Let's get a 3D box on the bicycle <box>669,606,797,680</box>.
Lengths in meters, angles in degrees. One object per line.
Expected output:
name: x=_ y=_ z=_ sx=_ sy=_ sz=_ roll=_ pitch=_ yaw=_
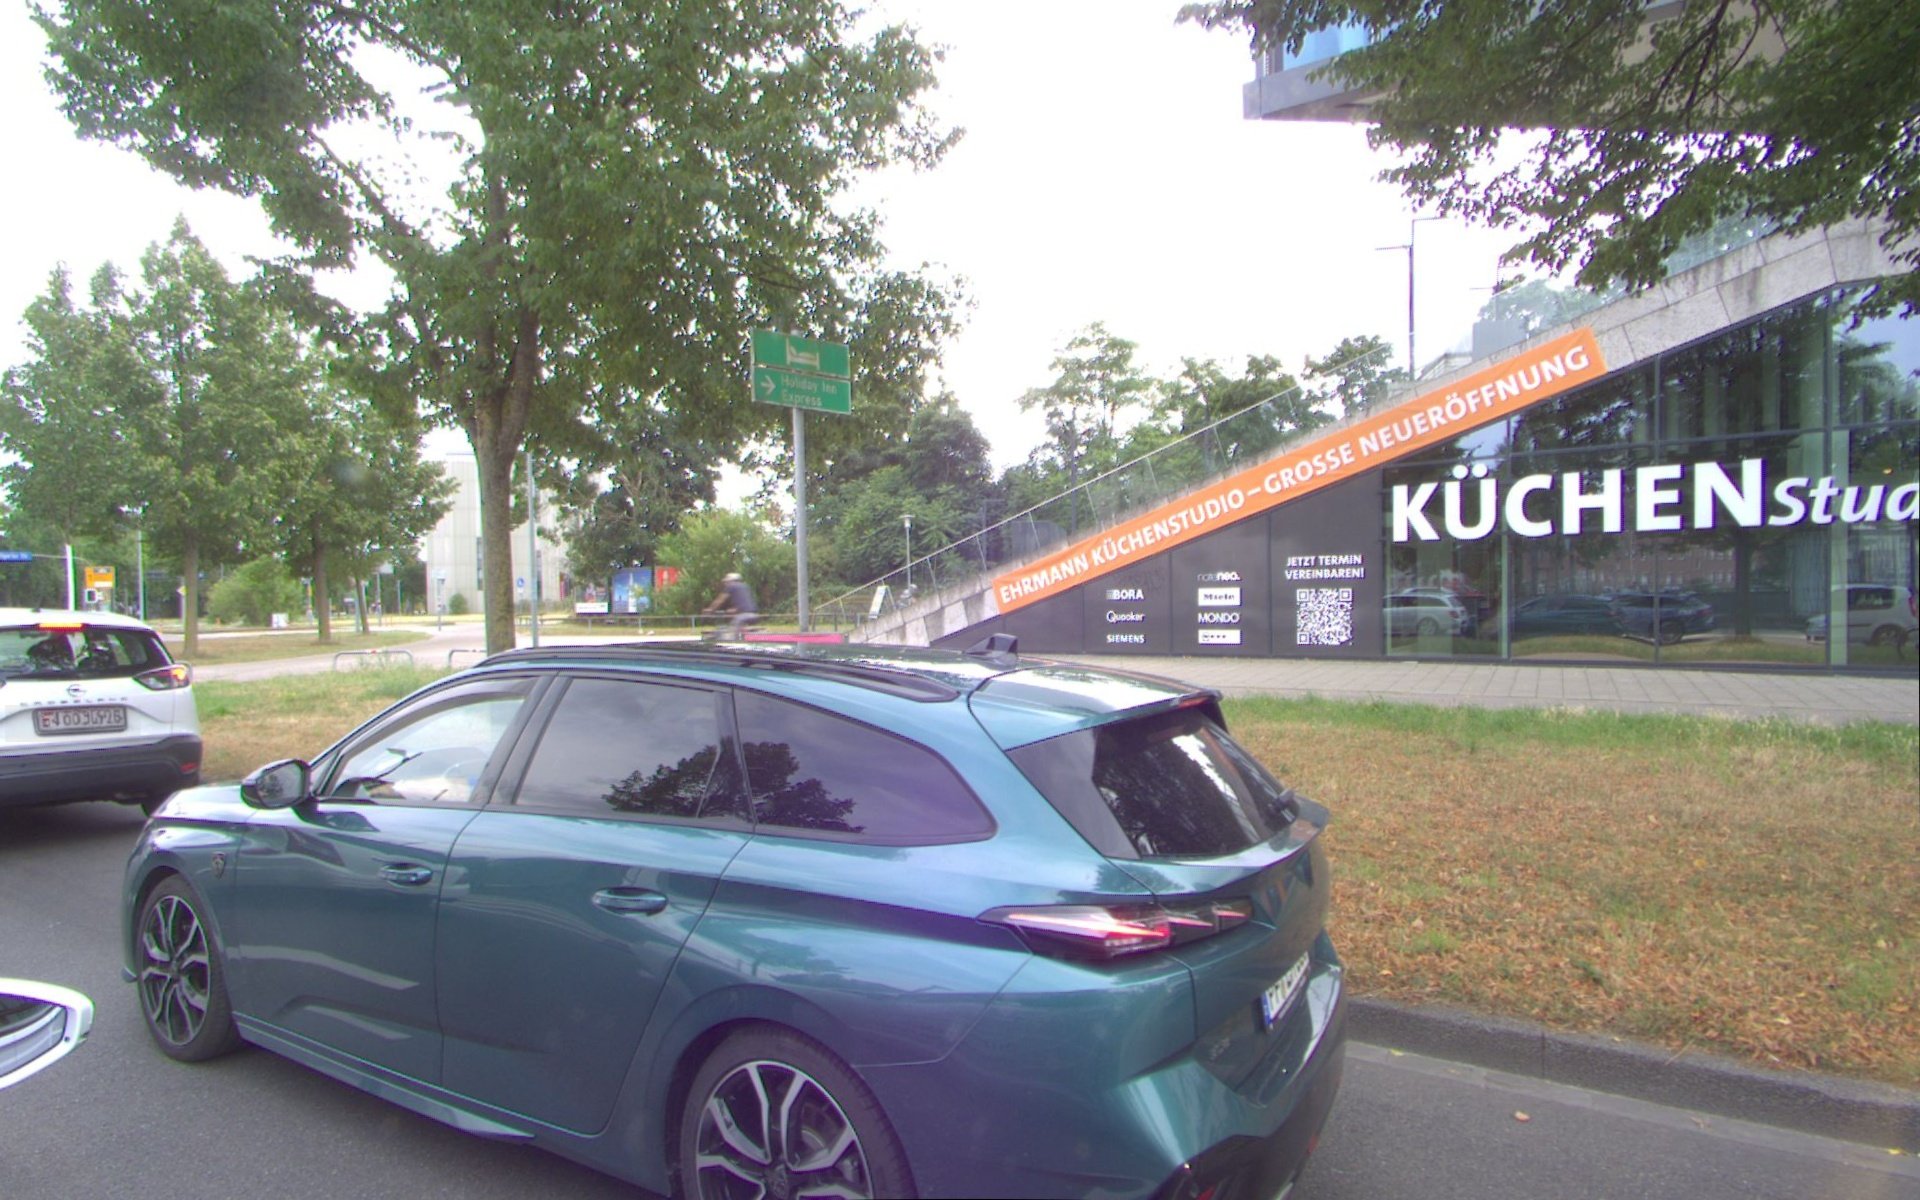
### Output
bicycle: x=-4.091 y=0.741 z=17.994 sx=2.234 sy=1.251 sz=0.900 roll=0 pitch=0 yaw=31

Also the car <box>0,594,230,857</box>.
car: x=-7.437 y=0.800 z=7.600 sx=3.854 sy=1.646 sz=1.783 roll=0 pitch=0 yaw=33

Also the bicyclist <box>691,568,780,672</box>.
bicyclist: x=-4.004 y=0.338 z=17.882 sx=1.113 sy=1.761 sz=0.994 roll=0 pitch=3 yaw=31

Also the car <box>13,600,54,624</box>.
car: x=-66.362 y=0.867 z=71.712 sx=4.352 sy=1.658 sz=1.774 roll=0 pitch=0 yaw=42

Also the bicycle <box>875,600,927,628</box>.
bicycle: x=-2.170 y=0.512 z=36.609 sx=1.913 sy=0.997 sz=0.561 roll=-1 pitch=2 yaw=33

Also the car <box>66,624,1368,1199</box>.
car: x=-0.991 y=0.824 z=3.411 sx=4.245 sy=1.450 sz=1.786 roll=0 pitch=-1 yaw=29
